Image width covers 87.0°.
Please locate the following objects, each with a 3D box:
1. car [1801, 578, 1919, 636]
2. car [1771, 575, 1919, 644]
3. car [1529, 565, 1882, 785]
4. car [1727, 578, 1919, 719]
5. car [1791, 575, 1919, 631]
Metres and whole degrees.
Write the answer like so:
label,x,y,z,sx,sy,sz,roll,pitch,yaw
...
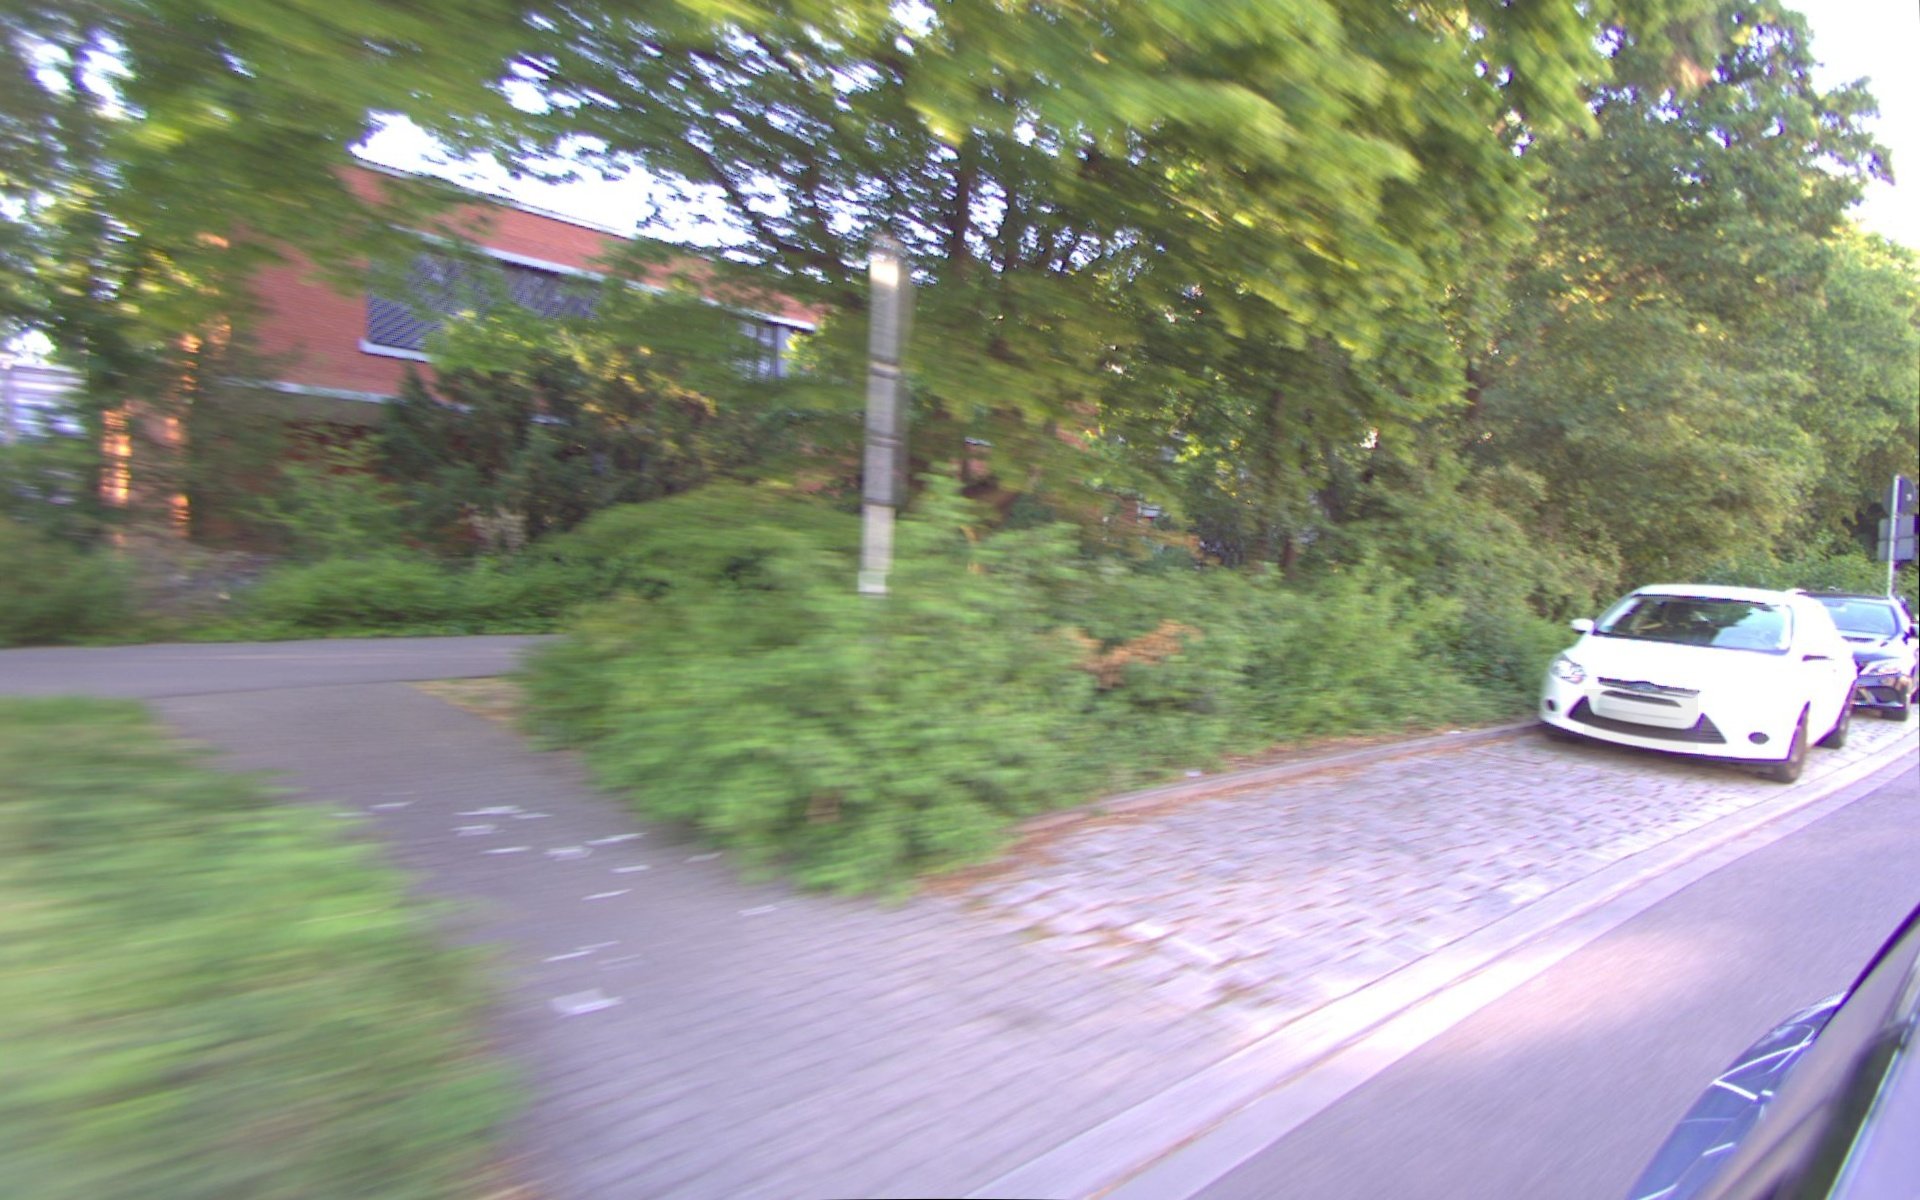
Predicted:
label,x,y,z,sx,sy,sz,roll,pitch,yaw
car,26.263,0.178,29.025,1.504,1.478,3.114,-1,3,-43
car,22.546,0.198,25.477,1.504,1.547,3.113,-1,3,-44
car,6.871,0.485,9.163,4.105,1.504,1.751,-1,3,-42
car,11.697,0.495,13.354,4.433,1.504,1.750,-1,3,-43
car,27.888,0.047,31.365,1.500,1.546,2.989,0,3,-36
